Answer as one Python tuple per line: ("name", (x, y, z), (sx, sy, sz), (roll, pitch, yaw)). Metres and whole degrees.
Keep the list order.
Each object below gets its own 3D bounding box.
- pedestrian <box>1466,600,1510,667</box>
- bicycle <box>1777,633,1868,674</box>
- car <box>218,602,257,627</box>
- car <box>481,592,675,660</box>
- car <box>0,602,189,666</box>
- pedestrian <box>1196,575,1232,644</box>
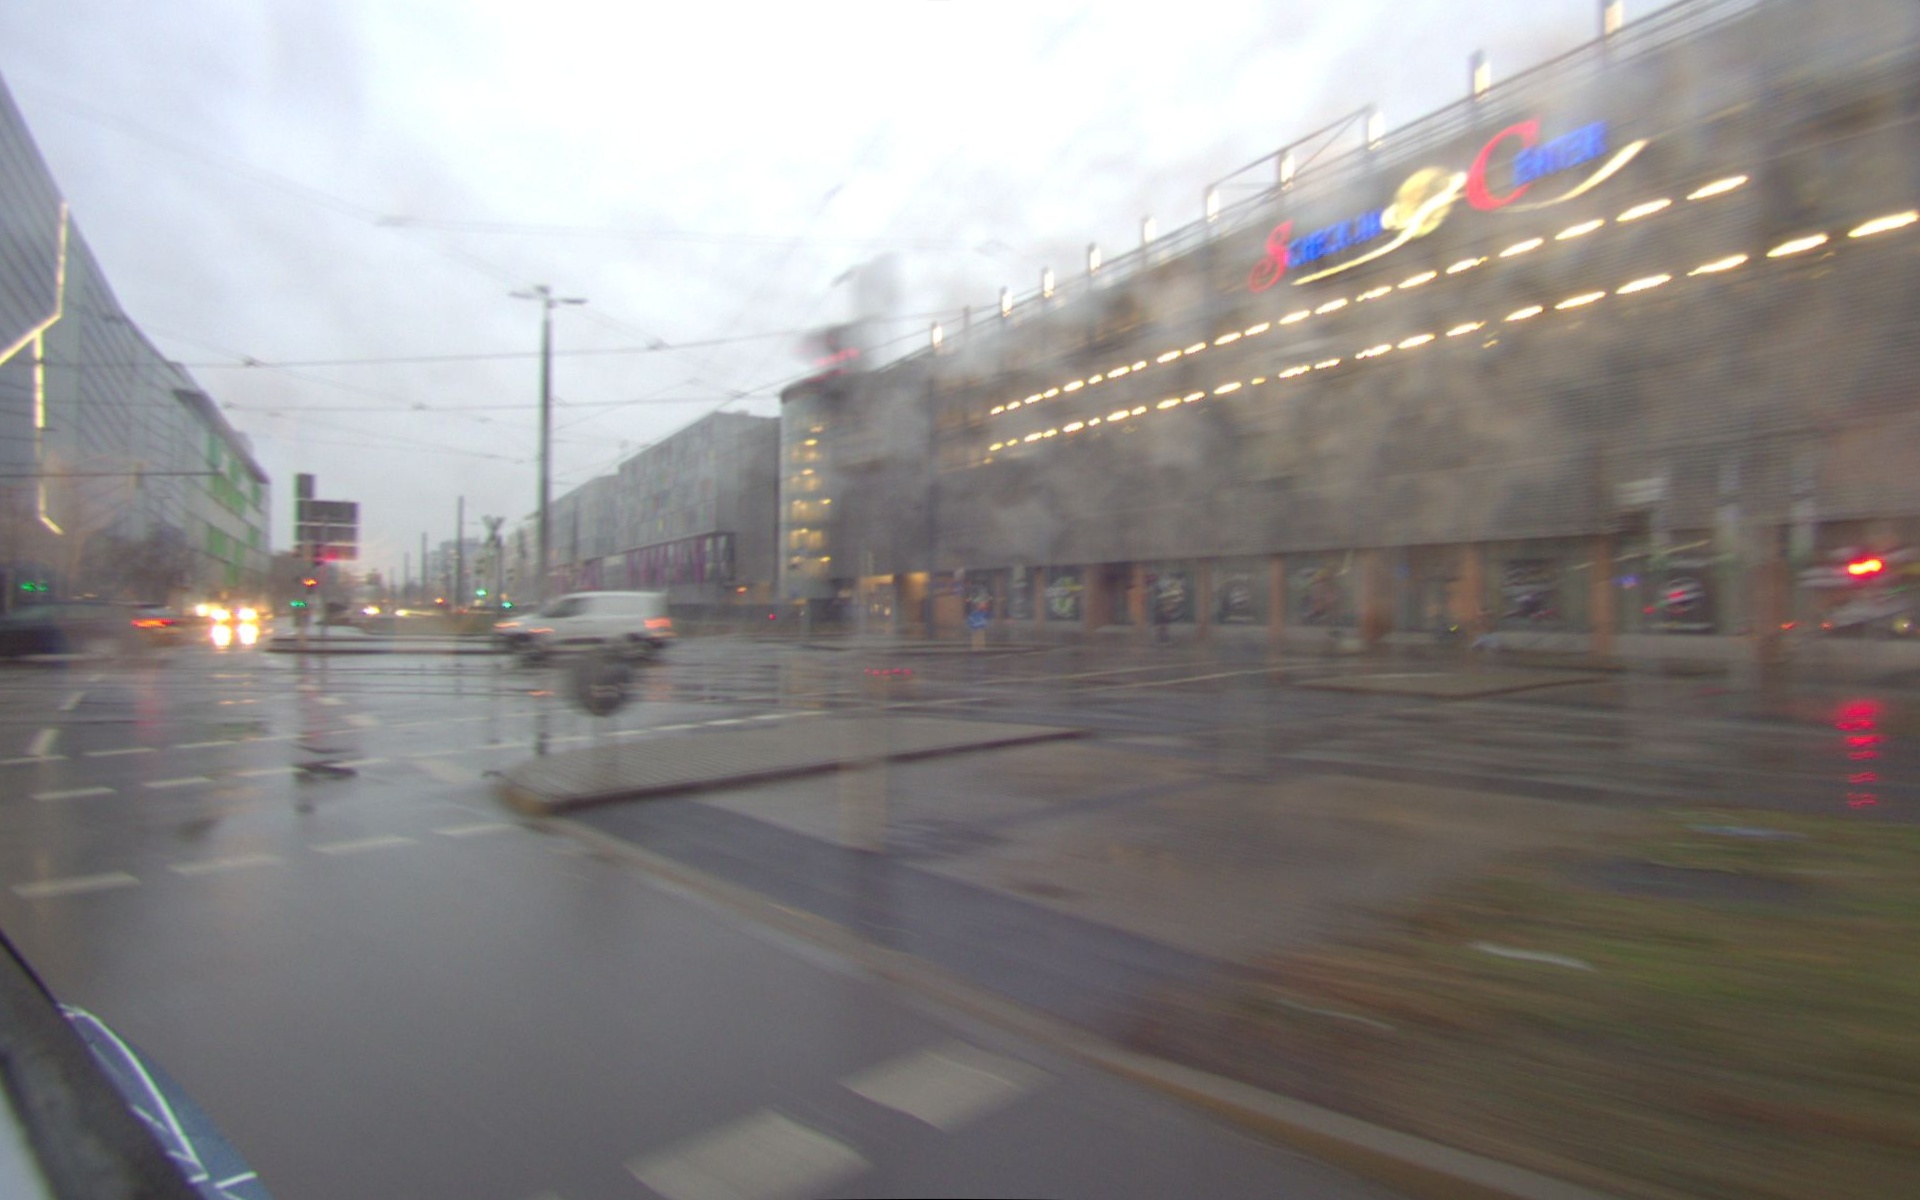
("pedestrian", (20.015, 1.252, 38.369), (0.949, 2.457, 1.117), (2, 0, -30))
("bicycle", (26.667, 1.628, 31.321), (0.469, 1.130, 2.098), (2, 0, -31))
("car", (-49.067, 0.987, 68.796), (1.803, 1.674, 4.012), (1, -1, -30))
("car", (-10.151, 0.693, 27.182), (4.539, 1.732, 1.932), (0, -1, -6))
("car", (-21.330, 0.797, 24.165), (4.349, 1.455, 1.634), (0, -1, -14))
("pedestrian", (11.015, 0.417, 43.855), (1.094, 2.947, 0.969), (2, 0, -30))
